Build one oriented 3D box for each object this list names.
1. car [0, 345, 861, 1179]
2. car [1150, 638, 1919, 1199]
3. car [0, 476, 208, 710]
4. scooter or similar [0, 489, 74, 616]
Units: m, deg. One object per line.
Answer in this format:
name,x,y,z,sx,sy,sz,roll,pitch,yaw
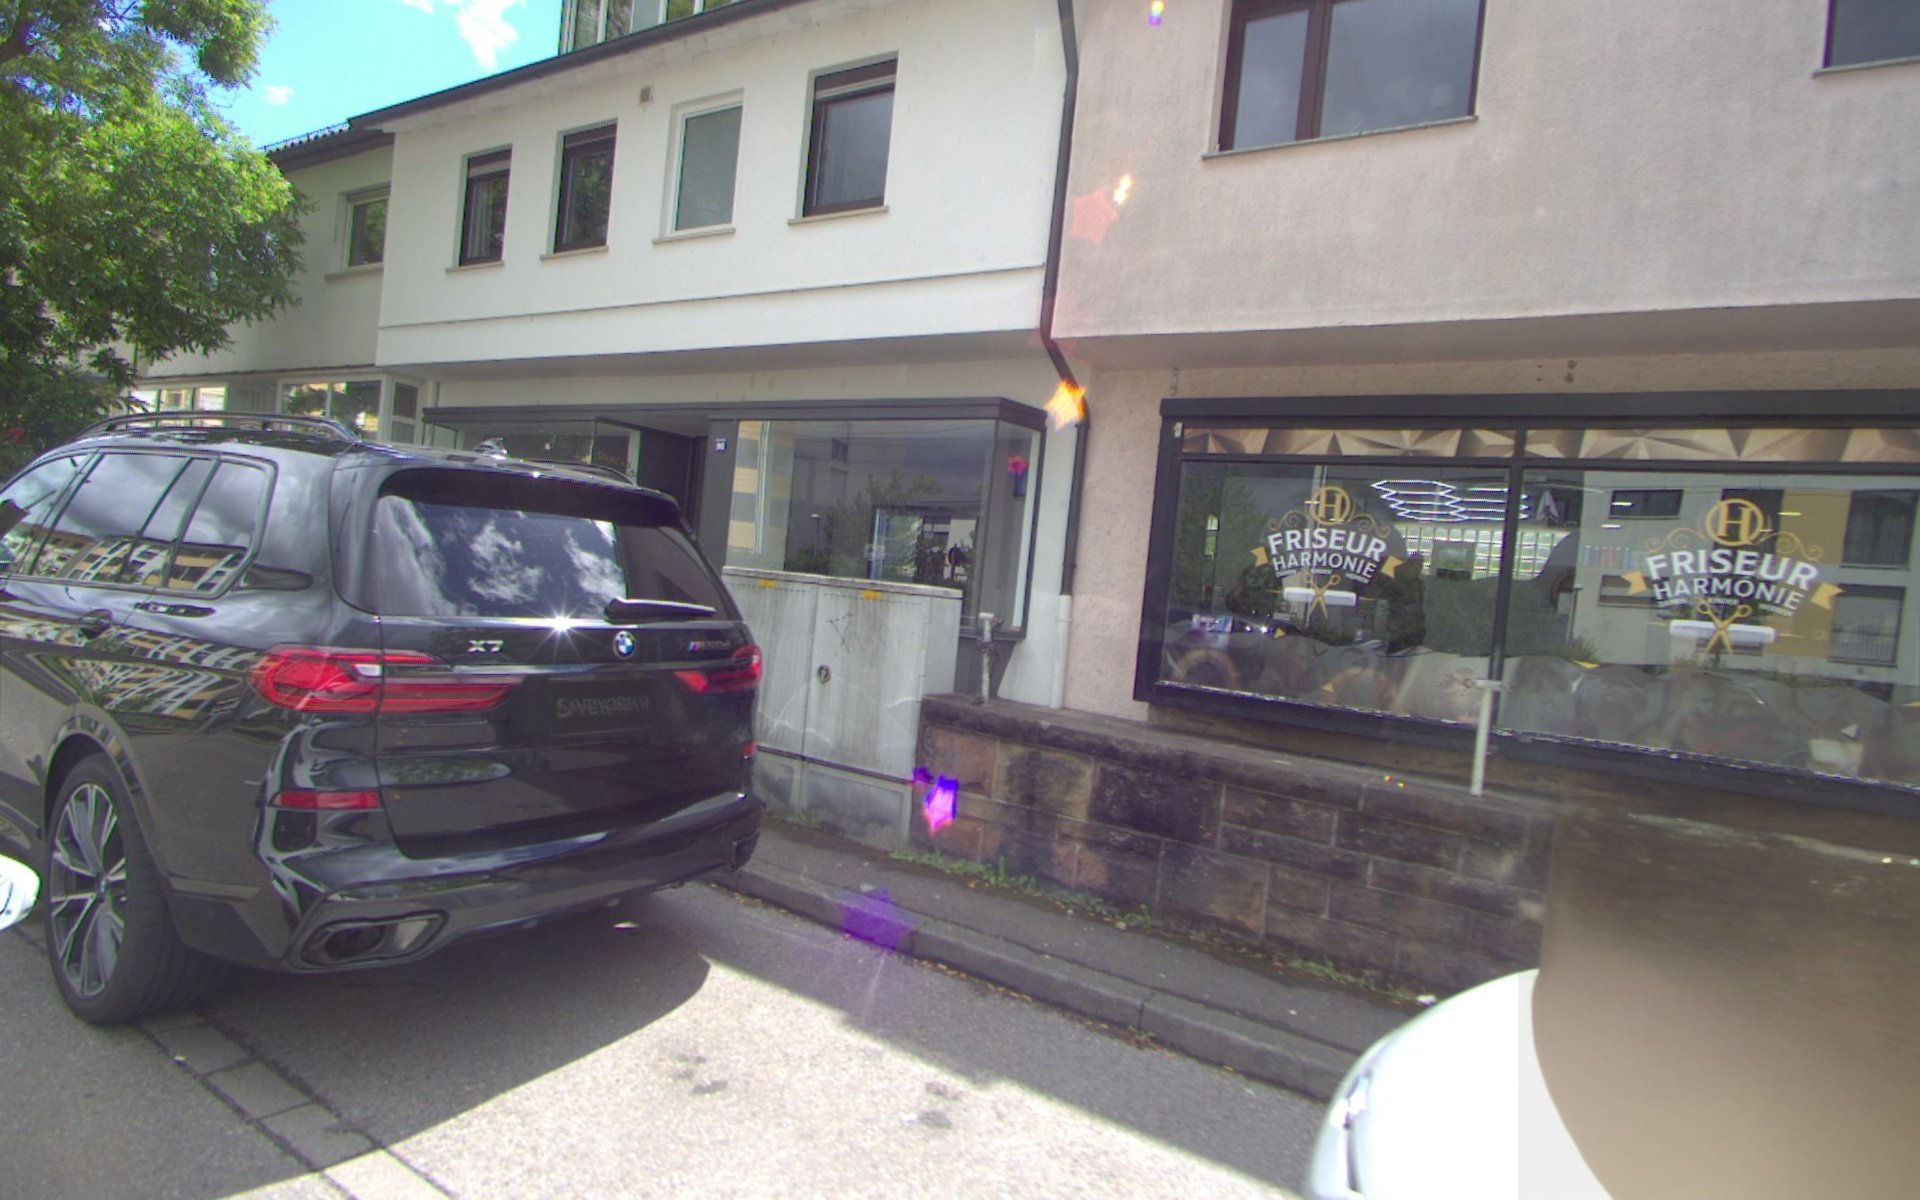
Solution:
car,-3.081,0.185,4.386,4.993,1.811,2.016,6,1,33
car,2.297,0.990,0.993,3.833,1.462,1.772,6,2,30
car,-7.919,-0.225,7.801,4.171,1.525,1.836,6,1,31
scooter or similar,-10.127,-0.538,10.467,1.214,1.259,0.536,7,2,-4
